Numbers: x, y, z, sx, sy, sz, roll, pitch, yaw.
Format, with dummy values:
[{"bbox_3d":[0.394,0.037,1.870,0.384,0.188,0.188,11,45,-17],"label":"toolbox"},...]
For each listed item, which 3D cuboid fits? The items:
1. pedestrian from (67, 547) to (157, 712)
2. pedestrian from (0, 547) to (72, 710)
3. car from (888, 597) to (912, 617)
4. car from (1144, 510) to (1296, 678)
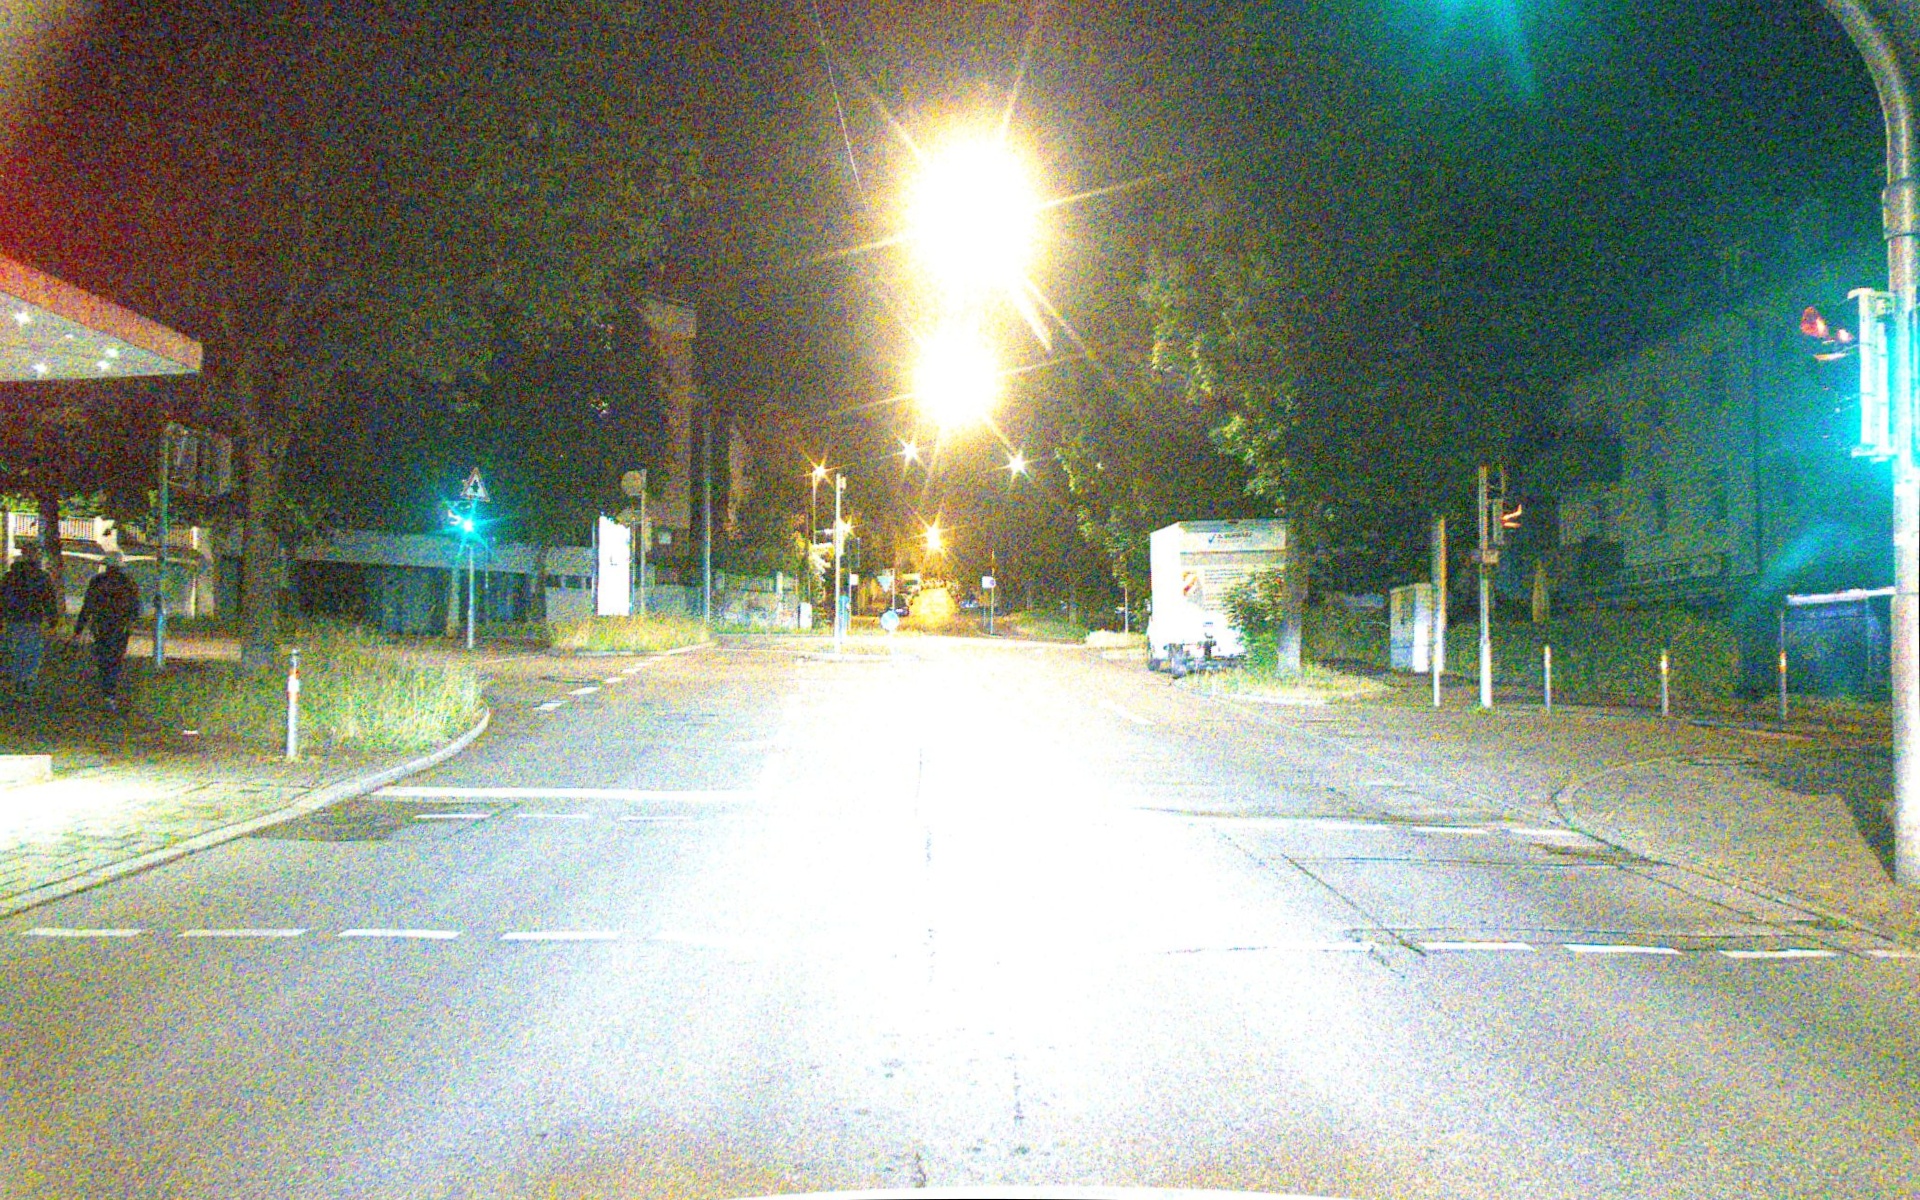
[{"bbox_3d":[-9.601,0.330,18.742,0.558,1.808,0.737,3,-1,-1],"label":"pedestrian"},{"bbox_3d":[-10.233,0.308,18.230,0.558,1.761,0.543,1,-1,-1],"label":"pedestrian"},{"bbox_3d":[-4.844,0.549,134.286,1.869,1.585,3.903,1,0,-1],"label":"car"},{"bbox_3d":[5.253,-0.103,34.317,2.249,3.147,5.840,-1,0,1],"label":"car"}]
